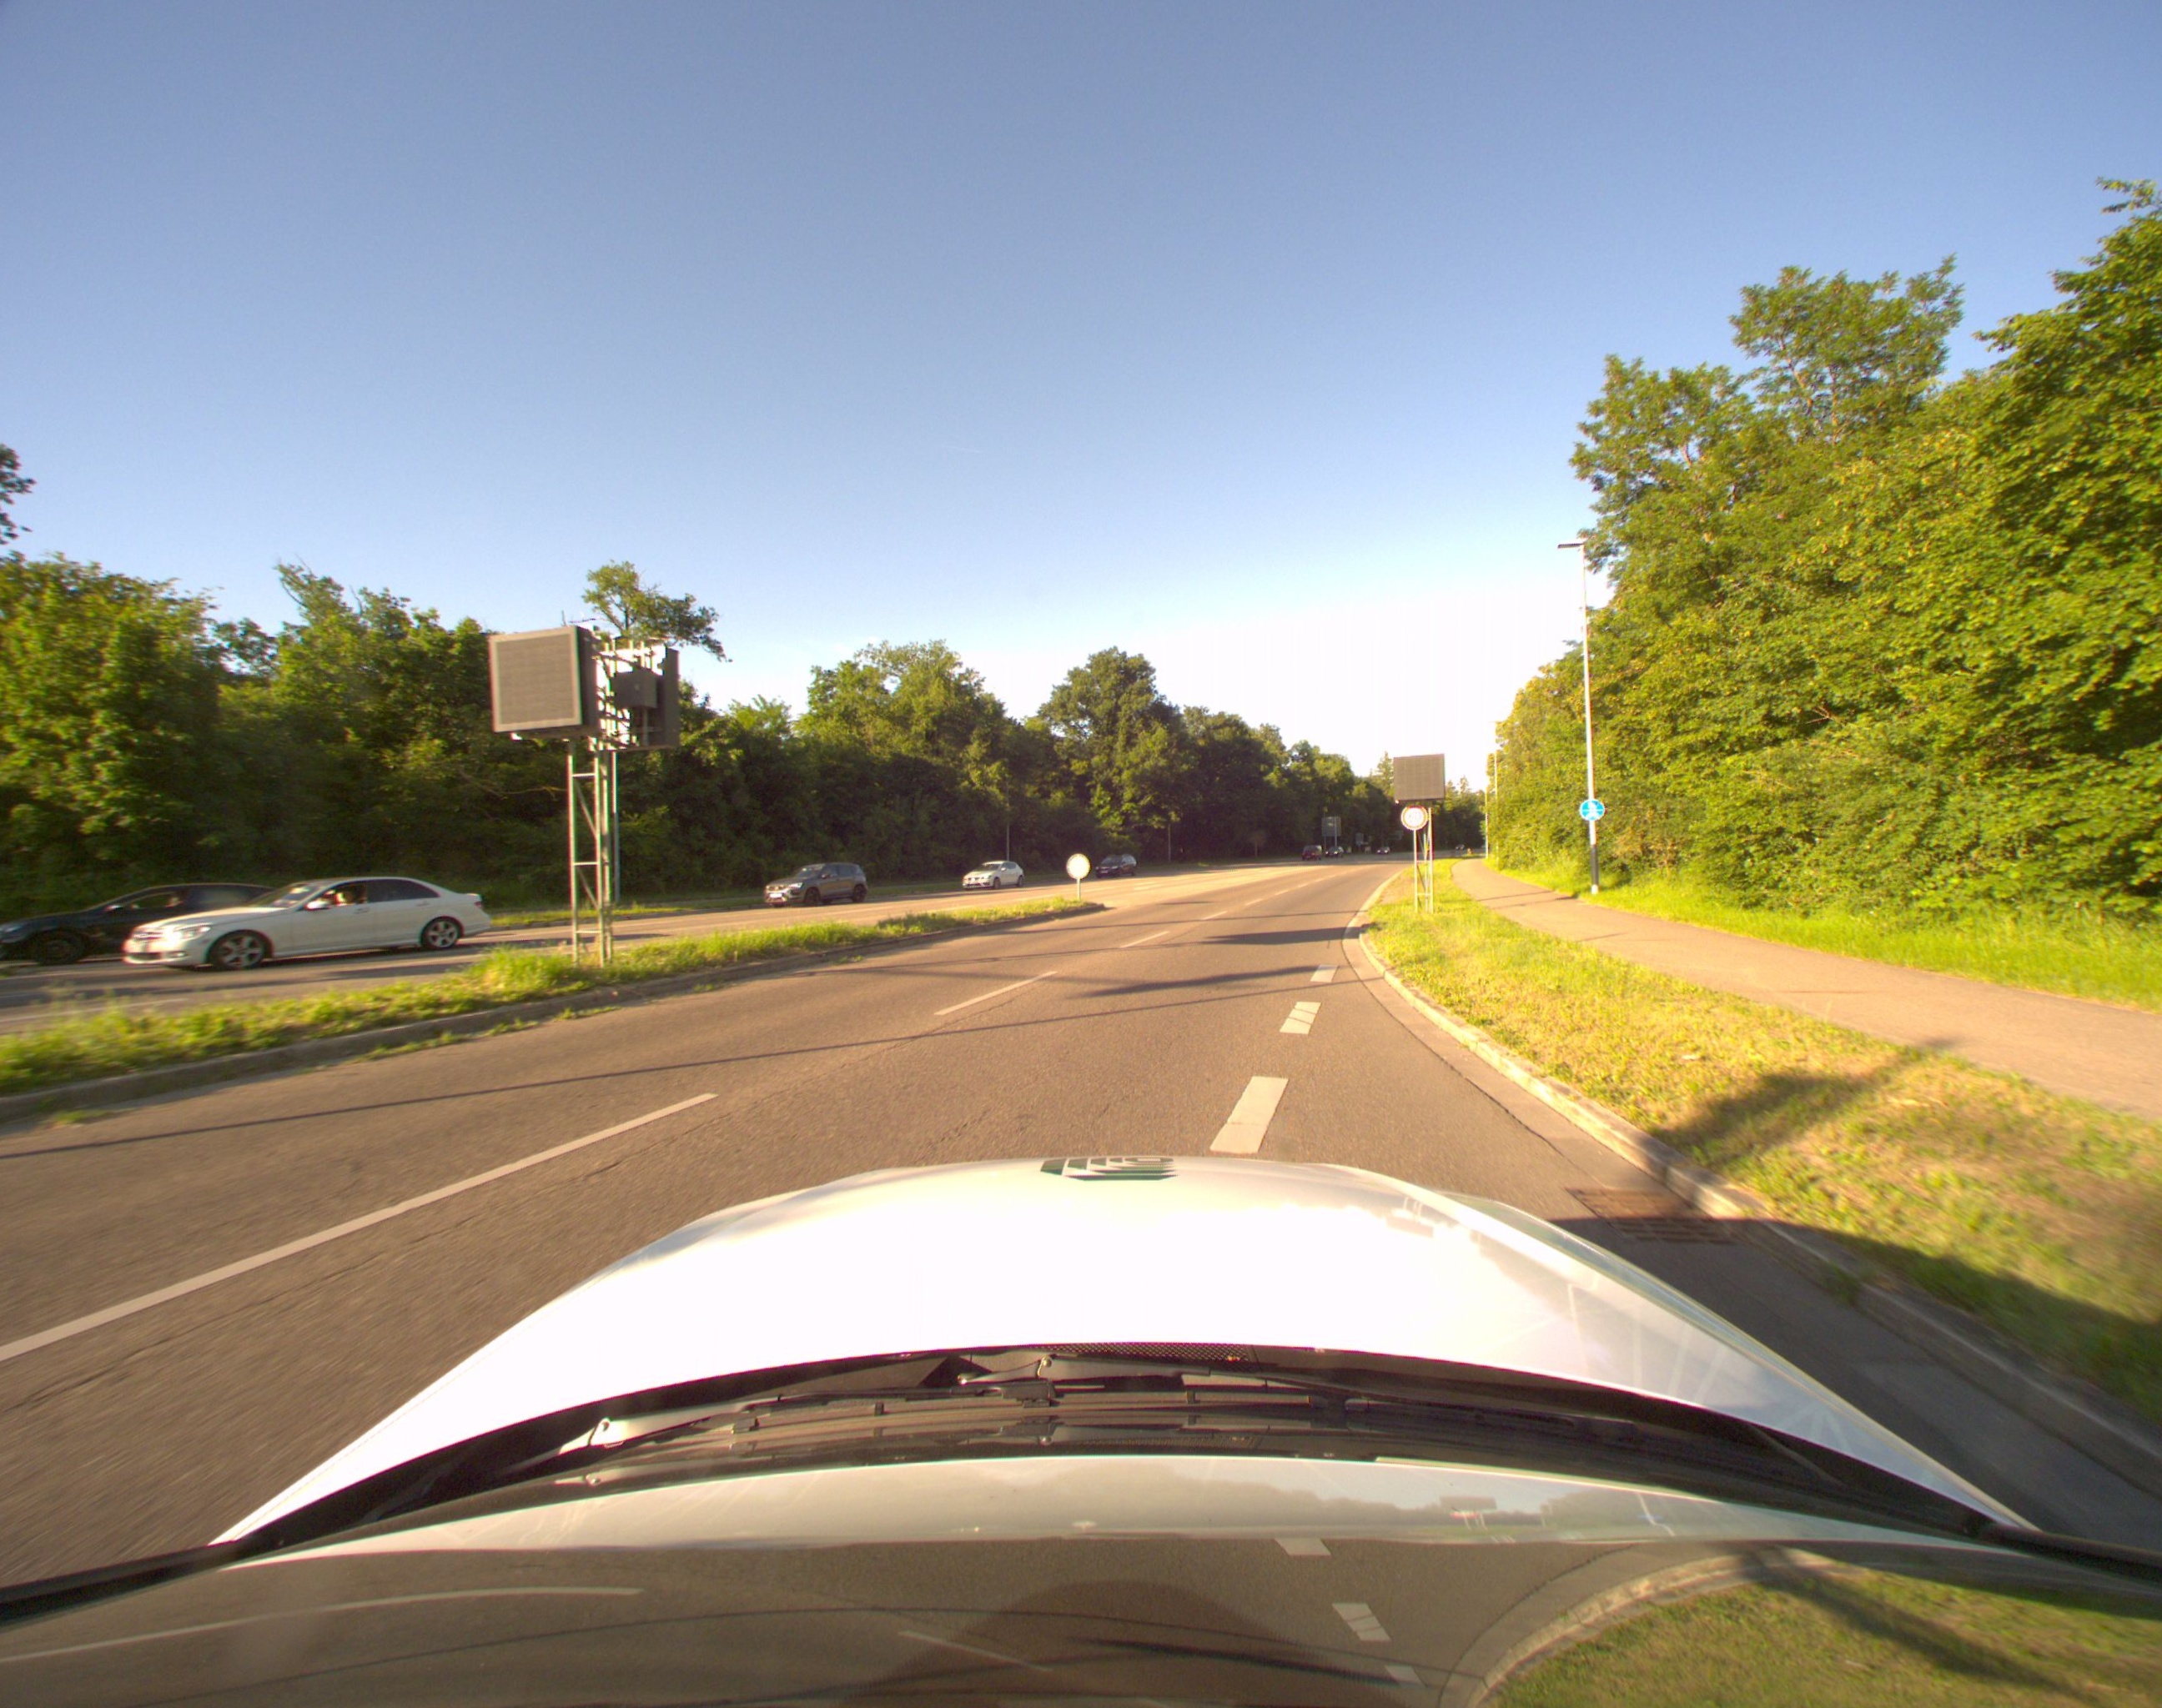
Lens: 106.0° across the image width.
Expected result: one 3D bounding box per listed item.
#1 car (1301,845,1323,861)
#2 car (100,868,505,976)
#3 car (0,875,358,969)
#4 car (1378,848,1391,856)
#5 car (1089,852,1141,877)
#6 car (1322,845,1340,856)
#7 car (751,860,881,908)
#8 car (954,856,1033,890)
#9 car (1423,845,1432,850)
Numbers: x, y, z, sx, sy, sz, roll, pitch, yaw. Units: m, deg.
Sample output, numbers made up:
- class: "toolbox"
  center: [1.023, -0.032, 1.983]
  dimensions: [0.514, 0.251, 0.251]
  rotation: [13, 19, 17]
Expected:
- class: "car"
  center: [30.016, -0.082, 105.741]
  dimensions: [1.975, 1.962, 4.674]
  rotation: [-3, -1, 24]
- class: "car"
  center: [-13.120, 1.049, 14.203]
  dimensions: [1.976, 1.451, 4.672]
  rotation: [-2, -1, 21]
- class: "car"
  center: [-17.963, 1.234, 16.461]
  dimensions: [1.974, 1.451, 4.678]
  rotation: [-1, 0, 36]
- class: "car"
  center: [58.613, -0.406, 157.195]
  dimensions: [1.975, 1.564, 4.364]
  rotation: [-1, 0, 26]
- class: "car"
  center: [2.423, 0.726, 57.020]
  dimensions: [1.975, 1.564, 4.674]
  rotation: [-3, -1, 24]
- class: "car"
  center: [38.433, -0.499, 125.171]
  dimensions: [1.976, 1.637, 4.871]
  rotation: [-1, 0, 24]
- class: "car"
  center: [-9.857, 1.080, 30.719]
  dimensions: [1.975, 1.564, 4.674]
  rotation: [-3, -1, 24]
- class: "car"
  center: [-4.507, 0.964, 42.645]
  dimensions: [1.975, 1.564, 4.674]
  rotation: [-3, -1, 24]
- class: "car"
  center: [84.805, -1.573, 199.476]
  dimensions: [1.728, 1.234, 4.701]
  rotation: [-1, 0, 26]
